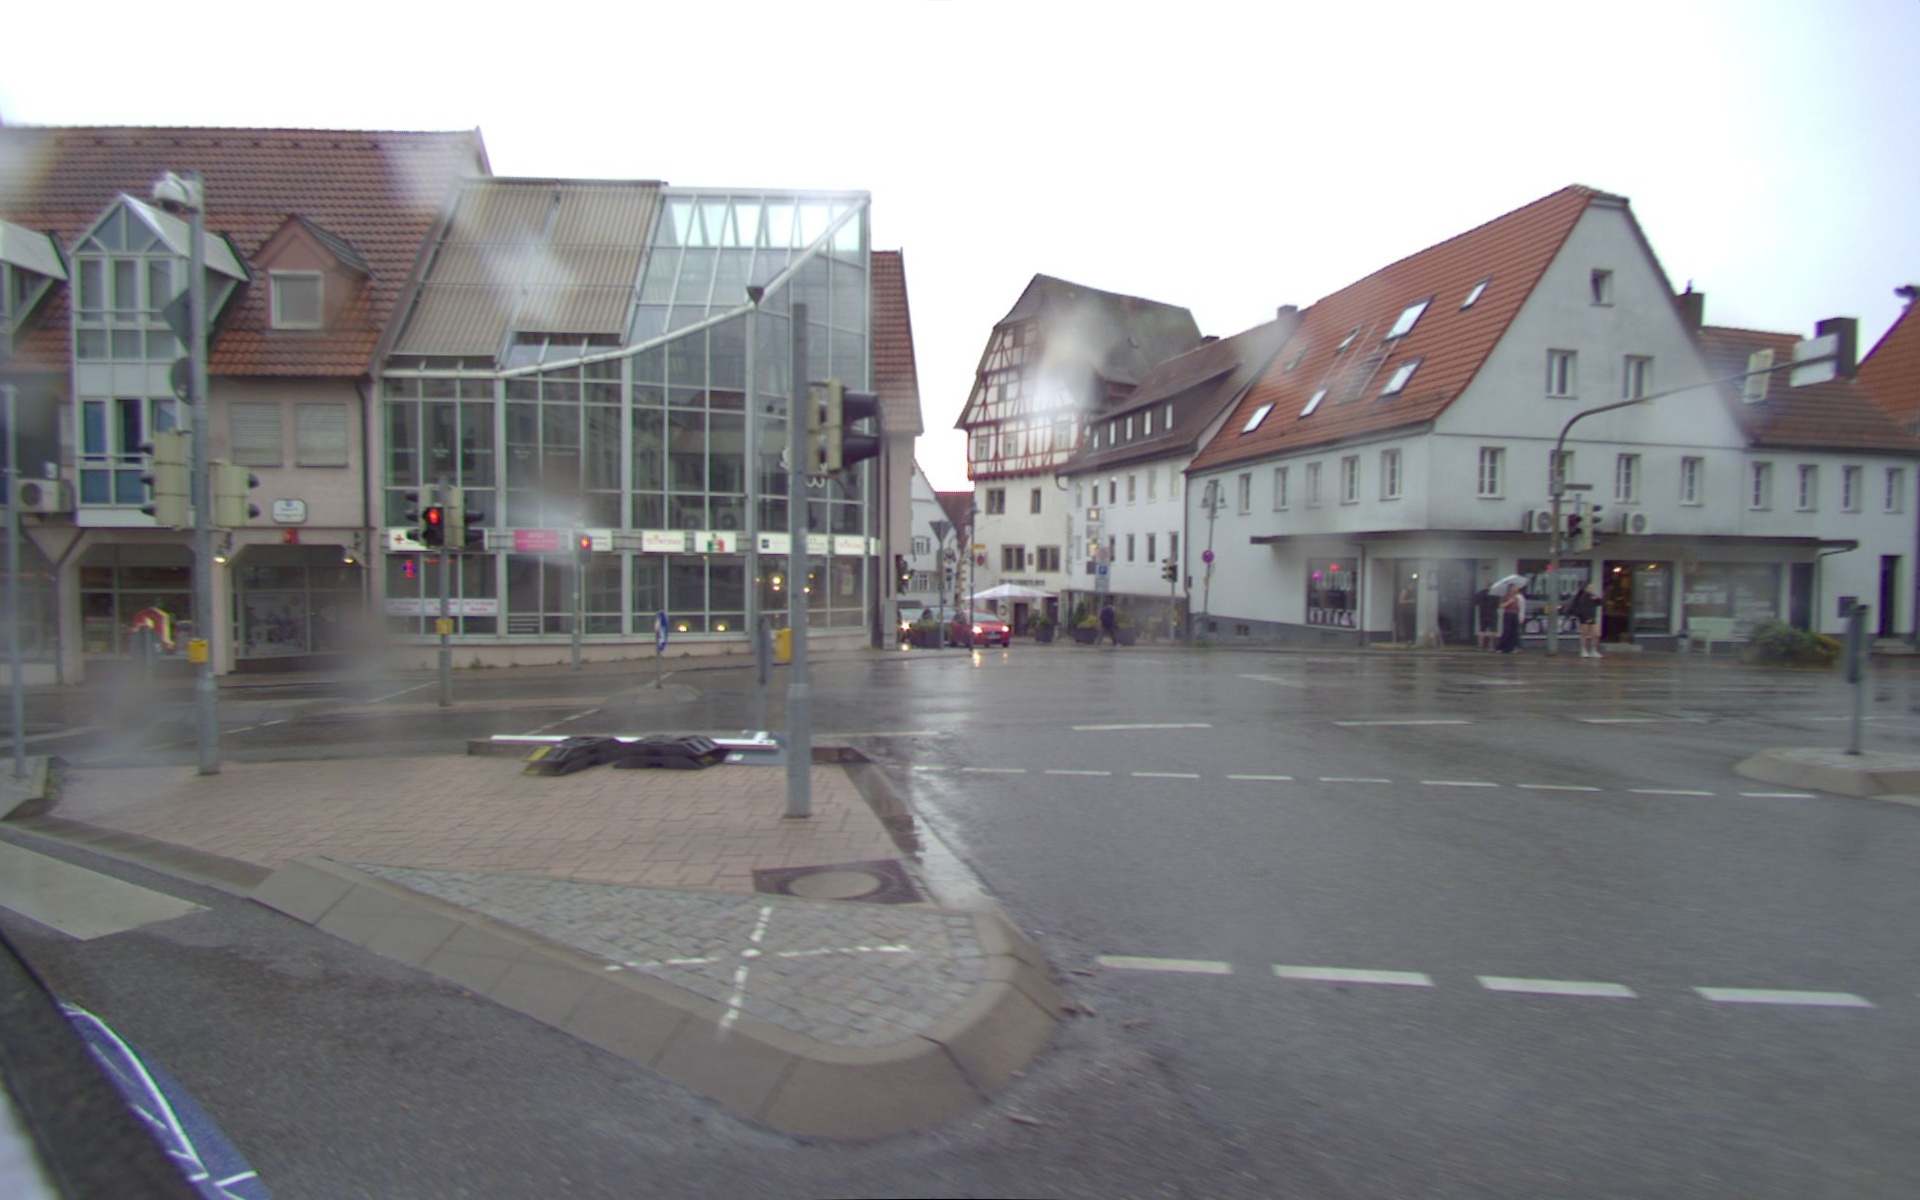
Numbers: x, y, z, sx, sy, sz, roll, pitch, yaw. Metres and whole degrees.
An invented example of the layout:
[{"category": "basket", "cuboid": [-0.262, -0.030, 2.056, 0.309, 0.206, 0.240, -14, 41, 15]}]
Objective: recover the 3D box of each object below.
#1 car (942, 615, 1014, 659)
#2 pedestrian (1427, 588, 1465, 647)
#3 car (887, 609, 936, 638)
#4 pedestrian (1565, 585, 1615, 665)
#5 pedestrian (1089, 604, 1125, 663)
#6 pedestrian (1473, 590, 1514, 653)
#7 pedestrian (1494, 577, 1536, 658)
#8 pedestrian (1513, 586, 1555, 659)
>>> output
[{"category": "car", "cuboid": [0.638, 1.357, 38.620, 1.715, 1.518, 3.694, -2, 0, -15]}, {"category": "pedestrian", "cuboid": [13.146, 0.475, 27.392, 0.624, 1.571, 0.596, -2, -1, -13]}, {"category": "car", "cuboid": [-2.449, 1.160, 50.229, 1.715, 1.298, 3.241, -2, 0, -15]}, {"category": "pedestrian", "cuboid": [15.142, 0.597, 24.343, 0.736, 1.881, 0.606, -2, -1, -13]}, {"category": "pedestrian", "cuboid": [5.003, 1.135, 34.480, 0.977, 1.953, 0.779, -3, -1, 22]}, {"category": "pedestrian", "cuboid": [13.480, 0.540, 25.589, 0.624, 1.571, 0.596, -2, -1, -13]}, {"category": "pedestrian", "cuboid": [13.244, 0.408, 24.153, 0.624, 1.885, 0.538, -2, -1, -13]}, {"category": "pedestrian", "cuboid": [14.456, 0.559, 25.502, 0.624, 1.787, 0.596, -2, -1, -13]}]
